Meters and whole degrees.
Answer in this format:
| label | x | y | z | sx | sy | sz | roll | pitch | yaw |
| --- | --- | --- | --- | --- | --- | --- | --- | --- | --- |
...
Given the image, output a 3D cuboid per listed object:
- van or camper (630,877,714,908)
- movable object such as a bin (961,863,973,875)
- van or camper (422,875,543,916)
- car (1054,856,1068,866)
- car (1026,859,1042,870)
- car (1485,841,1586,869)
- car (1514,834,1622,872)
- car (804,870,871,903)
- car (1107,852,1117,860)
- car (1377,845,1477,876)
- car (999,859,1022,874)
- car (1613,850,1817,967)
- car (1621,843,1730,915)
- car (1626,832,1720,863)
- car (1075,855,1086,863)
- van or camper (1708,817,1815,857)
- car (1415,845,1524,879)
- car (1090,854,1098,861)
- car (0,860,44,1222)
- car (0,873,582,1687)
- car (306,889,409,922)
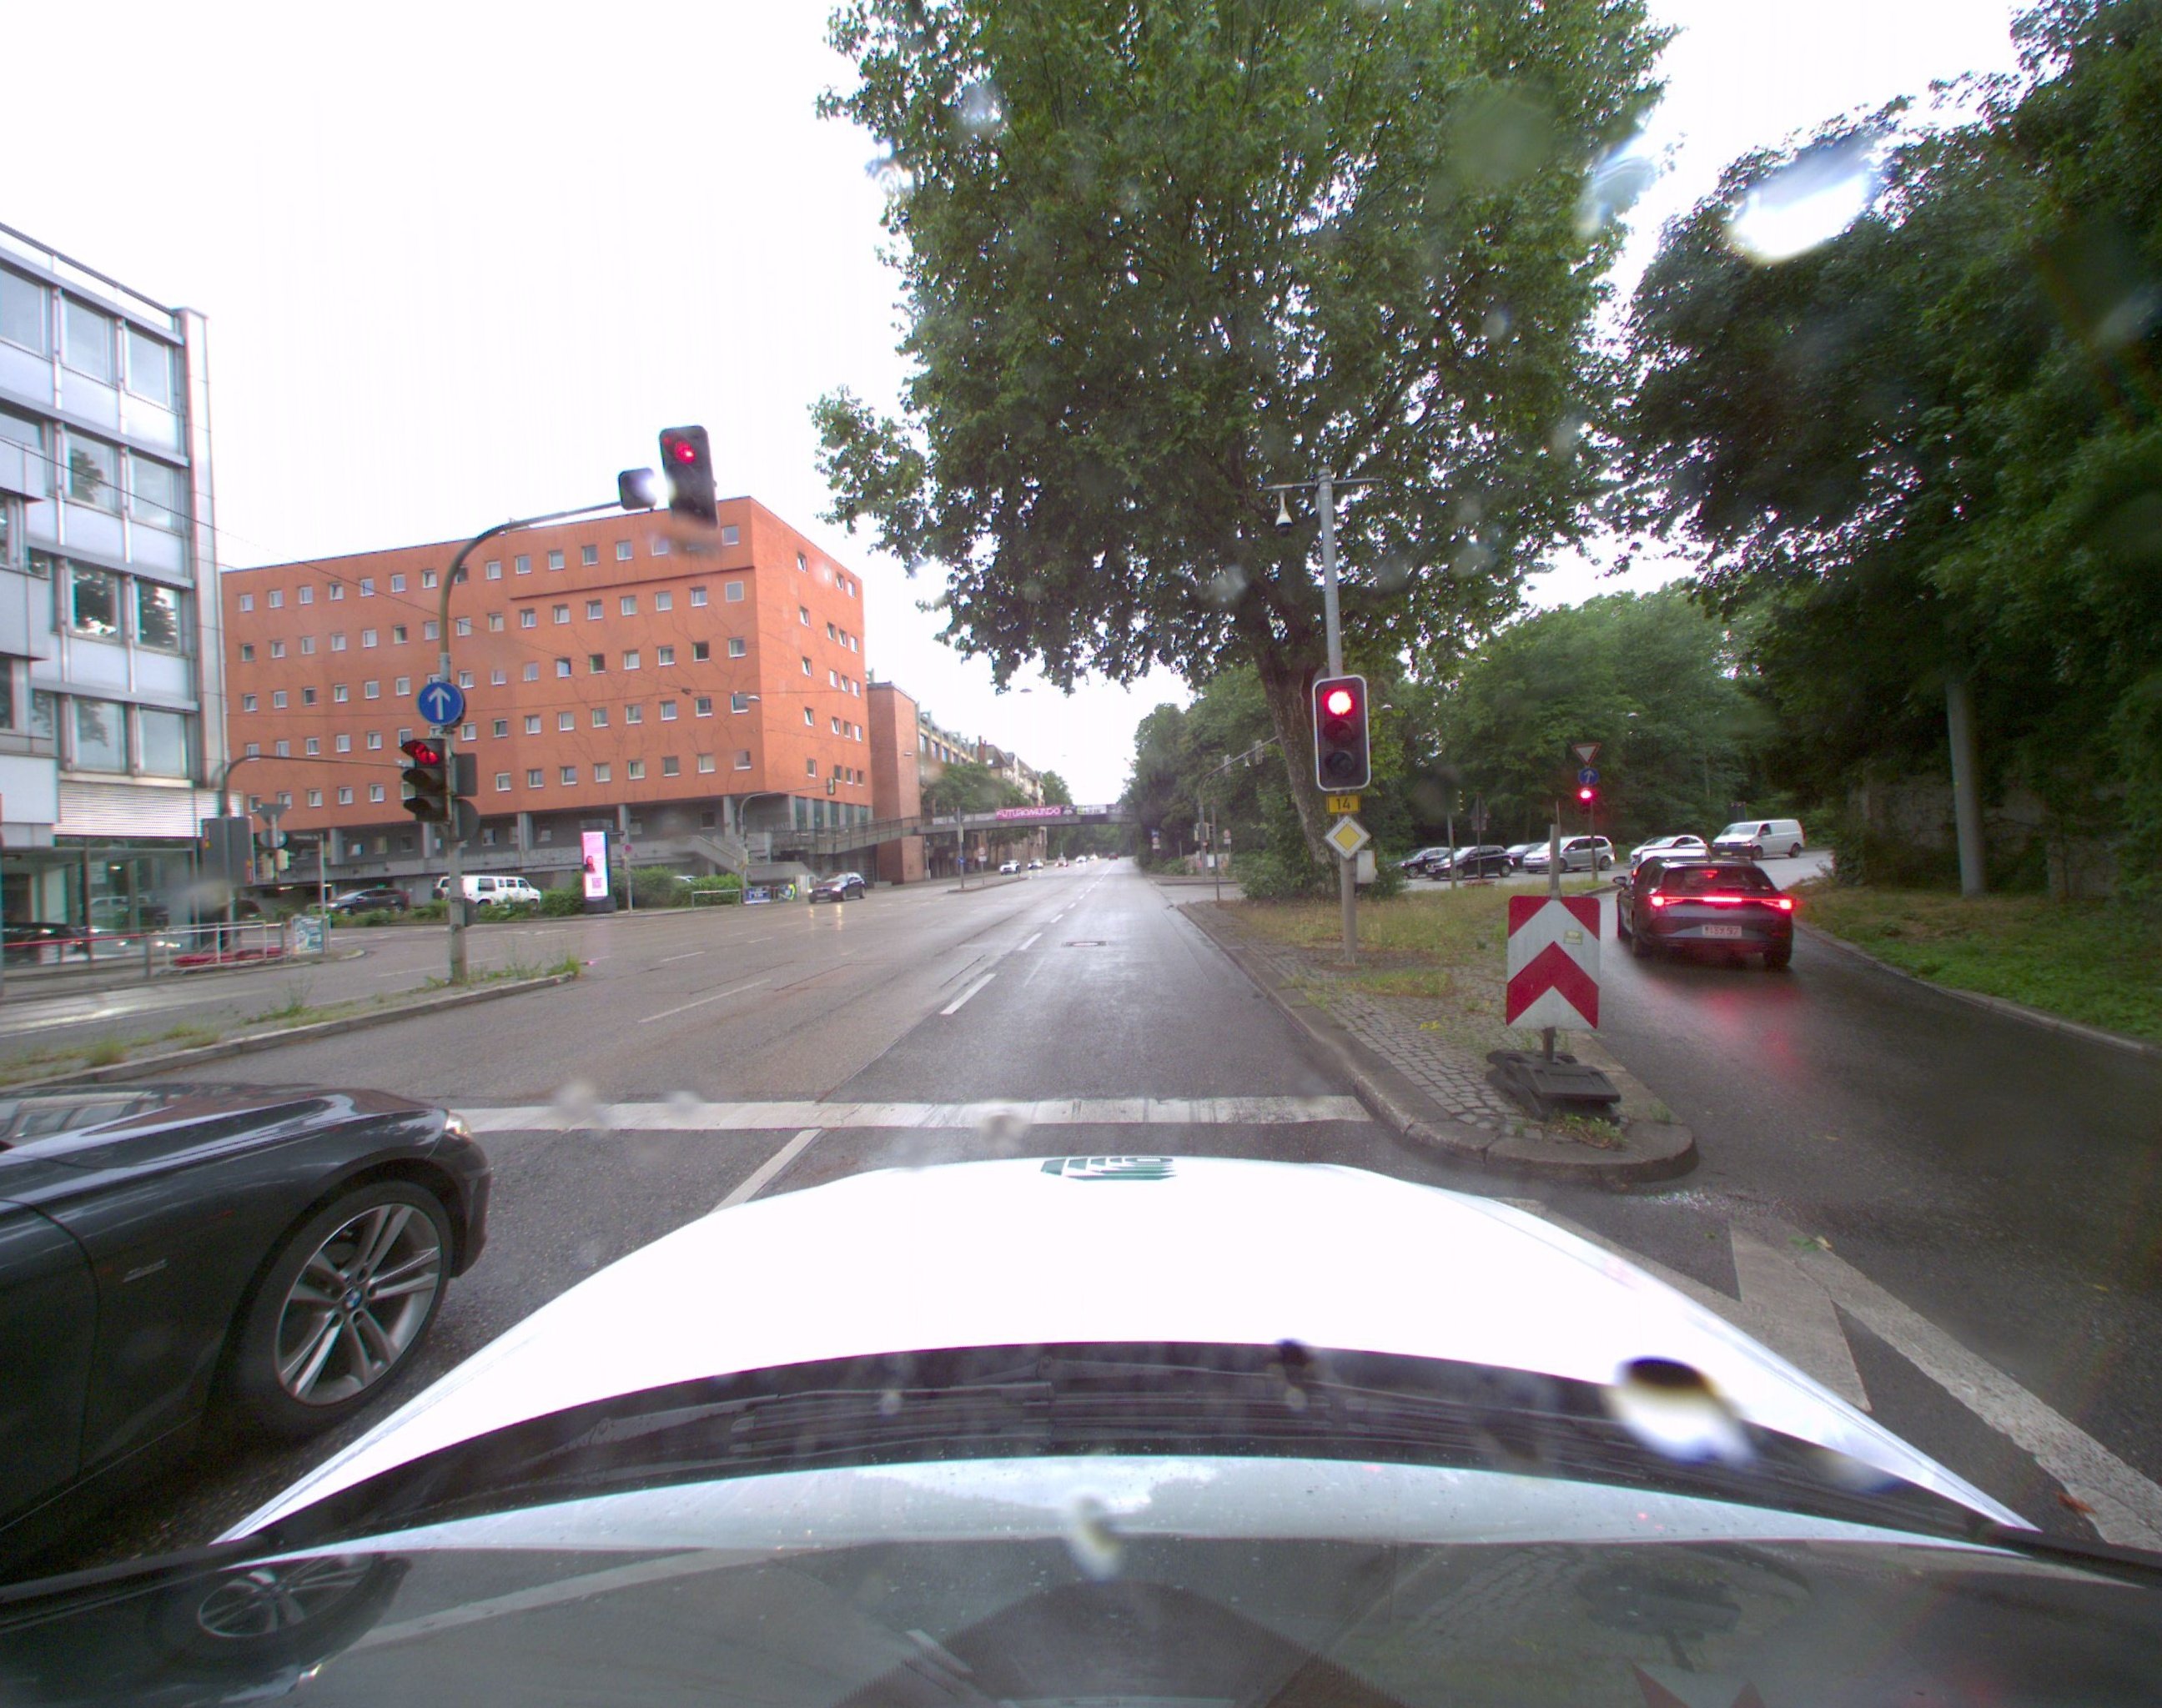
| label | x | y | z | sx | sy | sz | roll | pitch | yaw |
| --- | --- | --- | --- | --- | --- | --- | --- | --- | --- |
| van or camper | -24.247 | 2.278 | 48.362 | 3.965 | 1.627 | 1.918 | -3 | 0 | 8 |
| movable object such as a bin | -15.113 | 1.941 | 107.673 | 1.277 | 1.518 | 1.274 | -3 | 0 | 3 |
| van or camper | -32.835 | 2.220 | 44.916 | 2.113 | 1.977 | 5.466 | 0 | -1 | 9 |
| car | -3.127 | 1.093 | 127.871 | 1.676 | 1.436 | 3.865 | -3 | -1 | 3 |
| car | -6.832 | 1.570 | 118.602 | 1.701 | 1.464 | 4.047 | -3 | -1 | 5 |
| car | 22.975 | 0.043 | 41.228 | 4.438 | 1.402 | 1.821 | 0 | -1 | -14 |
| car | 22.575 | -0.038 | 37.817 | 4.203 | 1.680 | 1.898 | 0 | -1 | -14 |
| car | -12.053 | 1.560 | 40.587 | 1.678 | 1.419 | 4.220 | -4 | -1 | 5 |
| car | 6.628 | 0.463 | 174.984 | 1.996 | 1.643 | 4.378 | -3 | 0 | 2 |
| car | 16.886 | 0.320 | 39.815 | 4.205 | 1.440 | 1.941 | 0 | -1 | -14 |
| car | -8.189 | 1.434 | 95.276 | 1.881 | 1.610 | 4.461 | -3 | -1 | 4 |
| car | 9.220 | 0.650 | 12.223 | 1.732 | 1.403 | 4.441 | 1 | 1 | 29 |
| car | 14.029 | 0.493 | 19.296 | 1.834 | 1.448 | 4.648 | 2 | 2 | 36 |
| car | 28.846 | -0.290 | 39.718 | 3.857 | 1.461 | 1.650 | 0 | -1 | -14 |
| car | -0.053 | 0.959 | 162.832 | 1.823 | 1.393 | 4.409 | -4 | -1 | 3 |
| van or camper | 34.717 | -0.867 | 41.581 | 4.863 | 1.947 | 1.895 | -1 | -1 | -18 |
| car | 17.163 | 0.335 | 36.029 | 4.192 | 1.460 | 1.784 | 0 | -1 | -14 |
| car | 3.352 | 0.890 | 209.549 | 1.594 | 1.499 | 3.715 | -4 | -1 | 3 |
| car | -5.998 | 0.844 | 1.698 | 1.801 | 1.656 | 4.449 | 0 | -1 | 4 |
| car | -2.921 | 0.834 | 0.889 | 1.769 | 1.458 | 4.480 | -3 | -1 | 3 |
| car | -40.245 | 2.815 | 45.408 | 1.699 | 1.612 | 4.097 | 0 | -1 | 9 |
